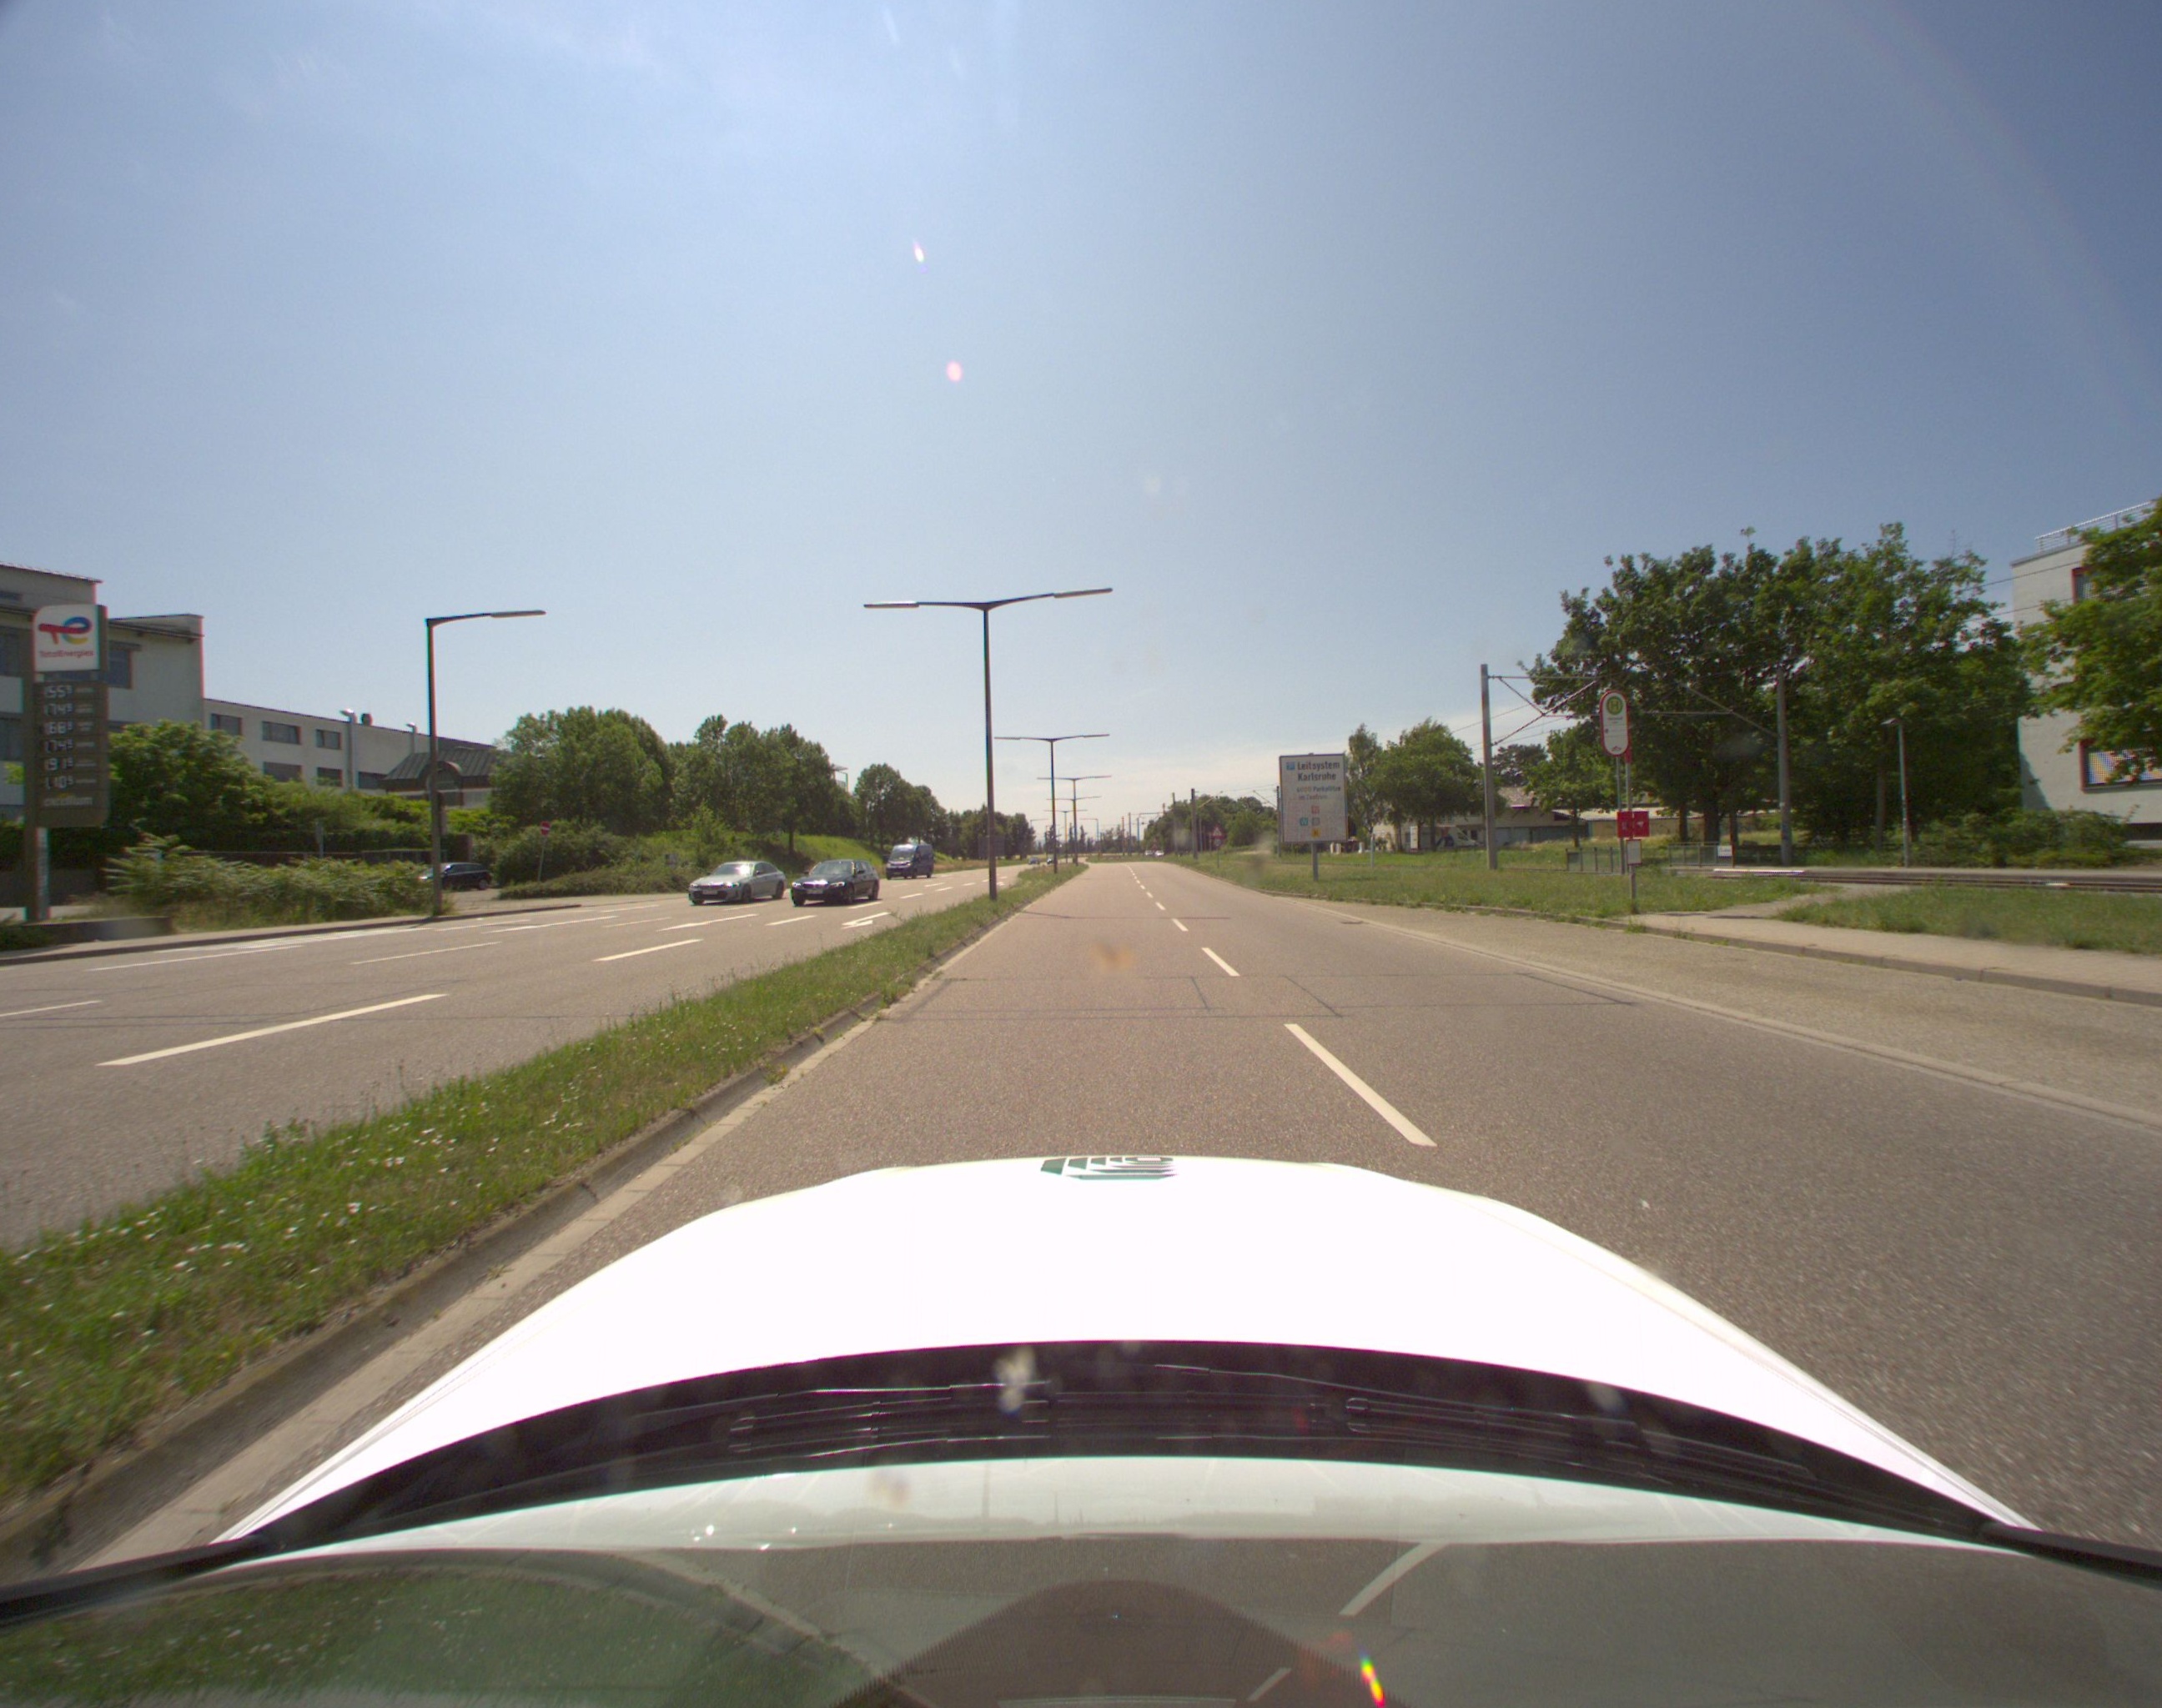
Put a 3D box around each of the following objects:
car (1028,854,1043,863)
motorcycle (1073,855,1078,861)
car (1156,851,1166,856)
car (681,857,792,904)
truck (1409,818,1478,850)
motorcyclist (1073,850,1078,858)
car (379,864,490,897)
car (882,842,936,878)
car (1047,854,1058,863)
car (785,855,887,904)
[{"bbox_3d":[-7.803,0.801,140.681,1.985,1.360,4.669,-2,0,3],"label":"car"},{"bbox_3d":[-1.710,1.219,252.633,0.984,1.581,3.405,0,-1,5],"label":"motorcycle"},{"bbox_3d":[17.231,-0.115,175.193,1.560,1.179,3.074,-2,0,-5],"label":"car"},{"bbox_3d":[-12.148,0.879,29.113,1.825,1.449,4.851,-2,0,0],"label":"car"},{"bbox_3d":[36.363,-2.008,81.717,5.834,2.843,2.315,-3,-1,-7],"label":"truck"},{"bbox_3d":[-1.691,-0.040,252.972,1.225,2.351,1.108,0,-1,4],"label":"motorcyclist"},{"bbox_3d":[-31.736,1.265,40.133,1.865,1.409,4.012,-2,0,11],"label":"car"},{"bbox_3d":[-12.287,0.407,58.634,2.163,2.411,5.679,-1,0,5],"label":"car"},{"bbox_3d":[-4.859,0.827,141.056,1.686,1.492,4.000,-2,0,1],"label":"car"},{"bbox_3d":[-8.068,0.791,27.302,1.723,1.458,4.570,-2,0,4],"label":"car"}]
